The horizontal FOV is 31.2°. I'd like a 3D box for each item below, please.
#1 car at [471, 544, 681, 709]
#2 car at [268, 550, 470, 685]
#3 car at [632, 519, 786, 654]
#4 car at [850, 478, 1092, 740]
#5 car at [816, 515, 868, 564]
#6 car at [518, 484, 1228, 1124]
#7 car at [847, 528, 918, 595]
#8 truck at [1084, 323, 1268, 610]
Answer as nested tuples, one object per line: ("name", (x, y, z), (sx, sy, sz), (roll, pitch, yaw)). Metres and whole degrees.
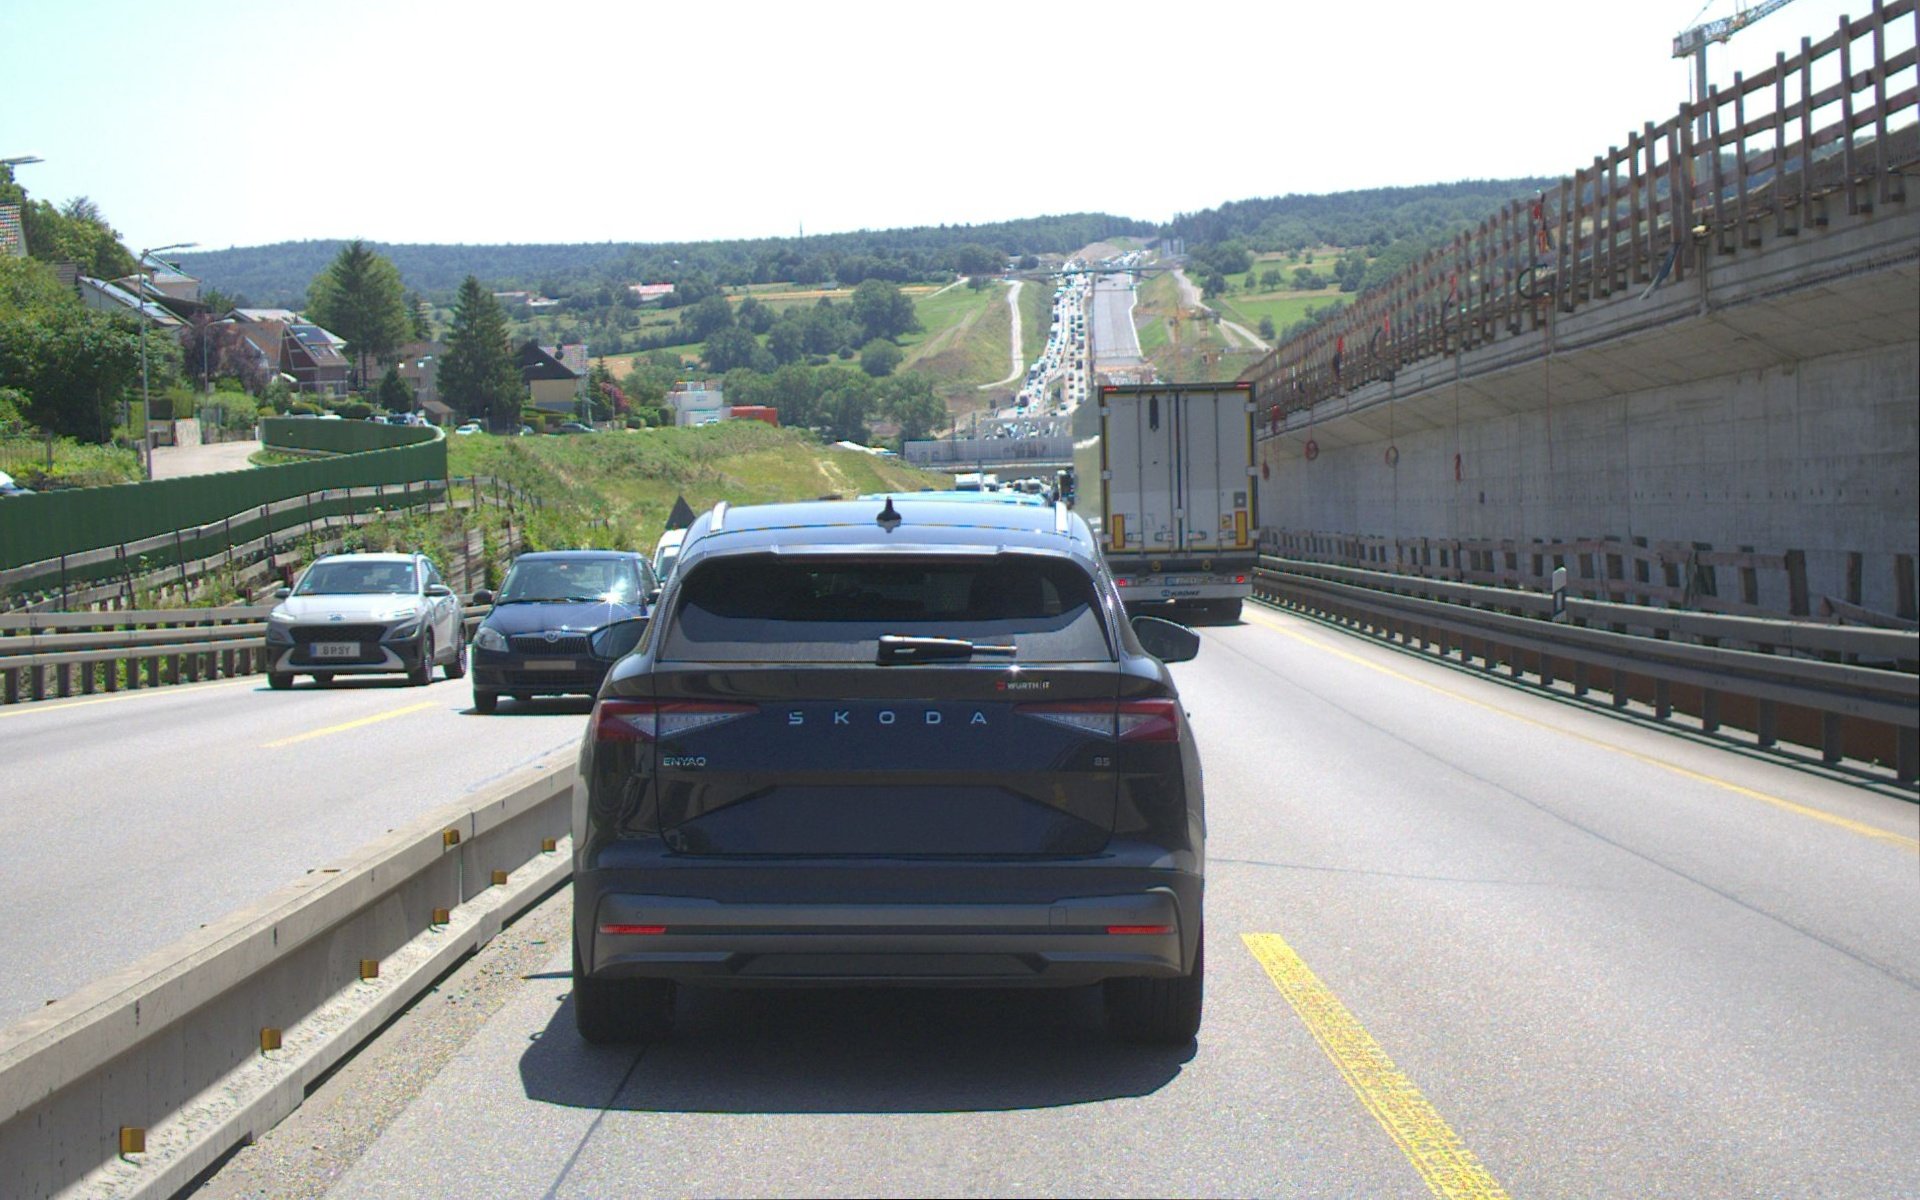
("car", (-3.593, 0.198, 32.759), (1.570, 1.456, 4.214), (0, 1, -1))
("car", (-6.832, 0.164, 40.061), (1.702, 1.474, 3.974), (0, 1, -1))
("car", (-3.359, -0.218, 46.617), (1.809, 1.735, 4.257), (0, 1, -1))
("car", (0.062, 0.032, 26.891), (1.749, 1.889, 3.755), (0, 1, -1))
("car", (-4.790, -2.438, 139.232), (1.825, 1.919, 5.244), (-1, 1, -5))
("car", (-0.211, 0.499, 10.859), (1.783, 1.592, 3.755), (-3, 1, 1))
("car", (-2.441, -1.213, 109.317), (1.993, 2.007, 4.969), (-2, 0, 1))
("truck", (3.734, -2.230, 62.050), (2.846, 4.599, 11.811), (-2, 0, 2))
